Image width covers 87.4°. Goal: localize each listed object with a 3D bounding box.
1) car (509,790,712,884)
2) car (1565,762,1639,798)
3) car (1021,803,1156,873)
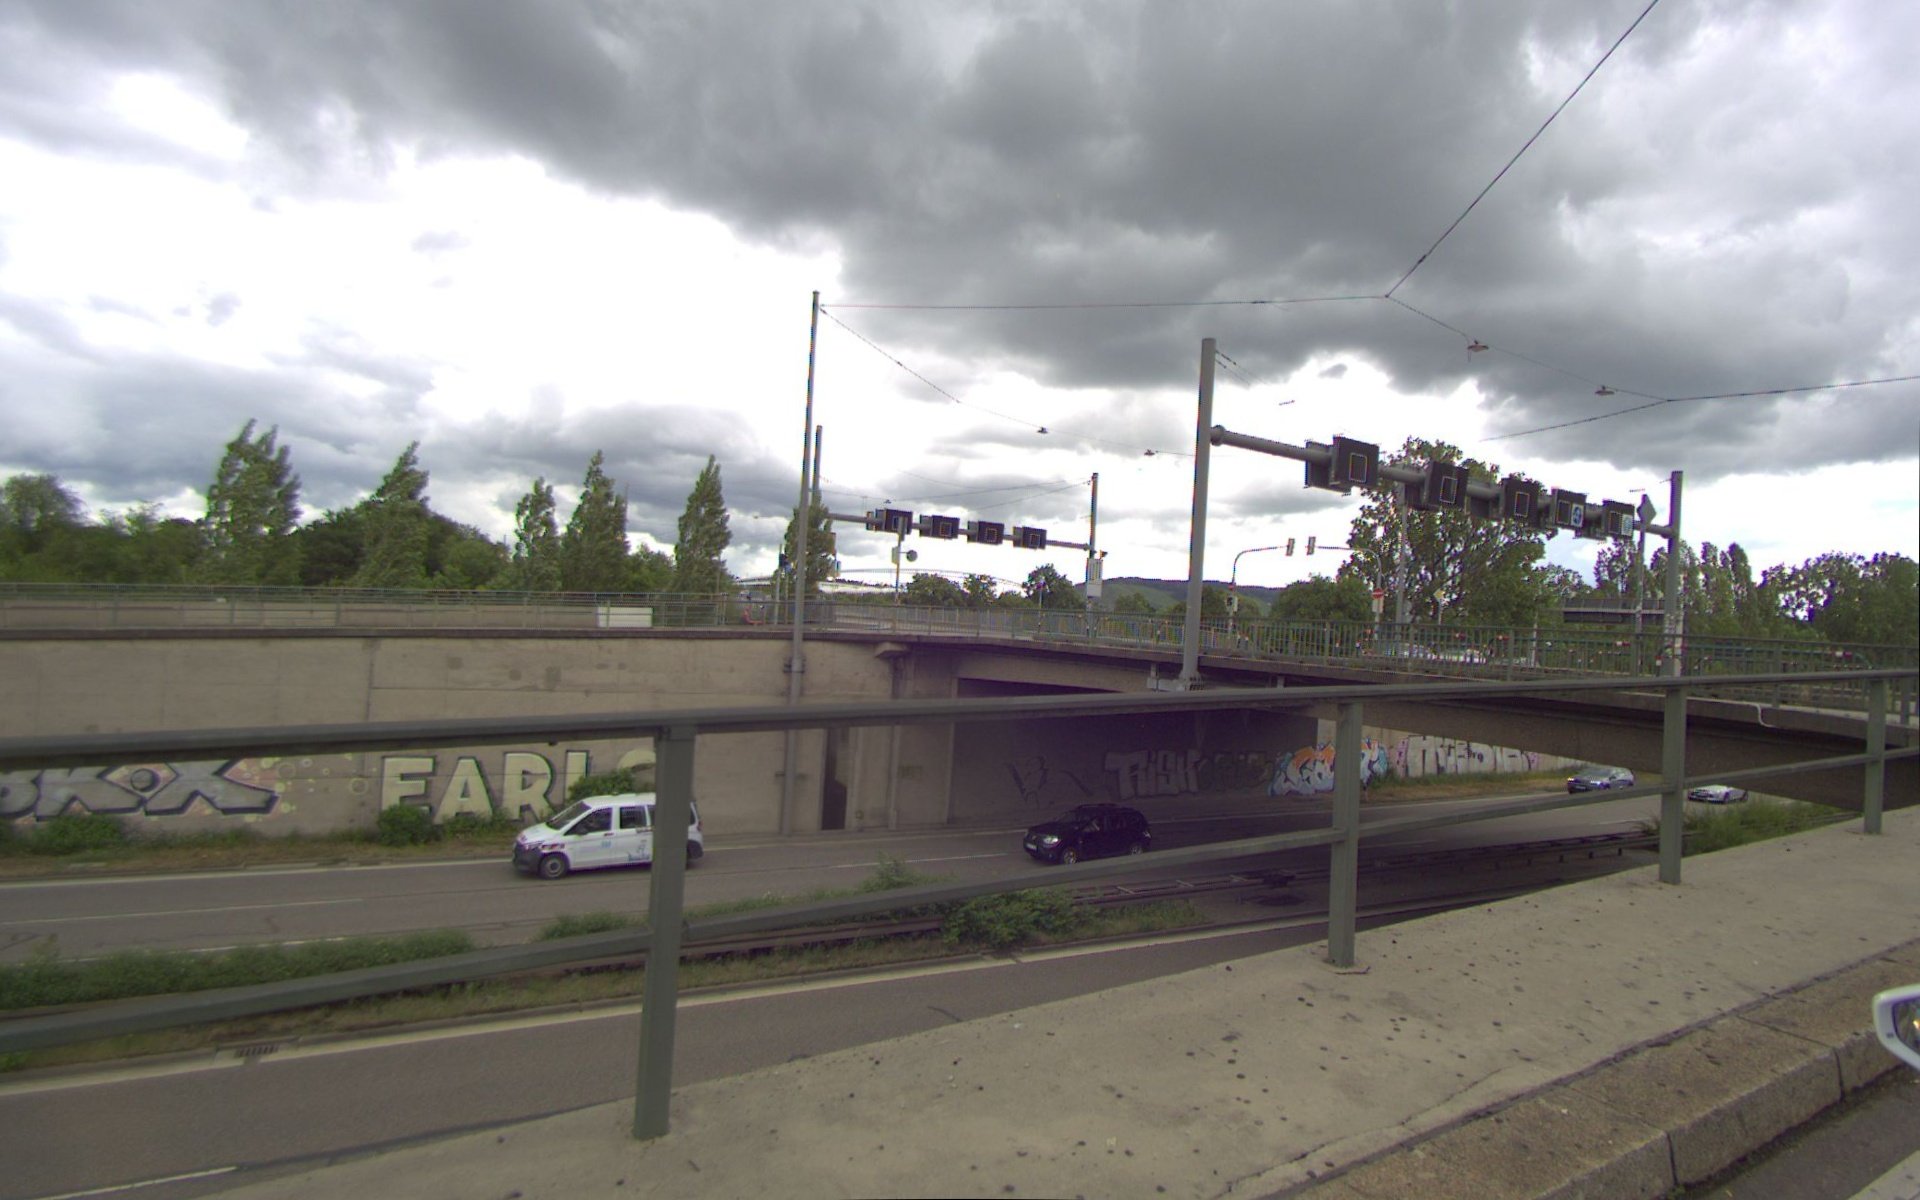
[{"bbox_3d":[-9.454,6.333,27.291,4.853,1.932,1.938,4,-3,-30],"label":"car"},{"bbox_3d":[35.481,9.920,55.504,4.206,1.692,1.703,5,-3,-30],"label":"car"},{"bbox_3d":[4.023,7.340,31.272,3.954,1.641,1.657,4,-4,-30],"label":"car"}]
